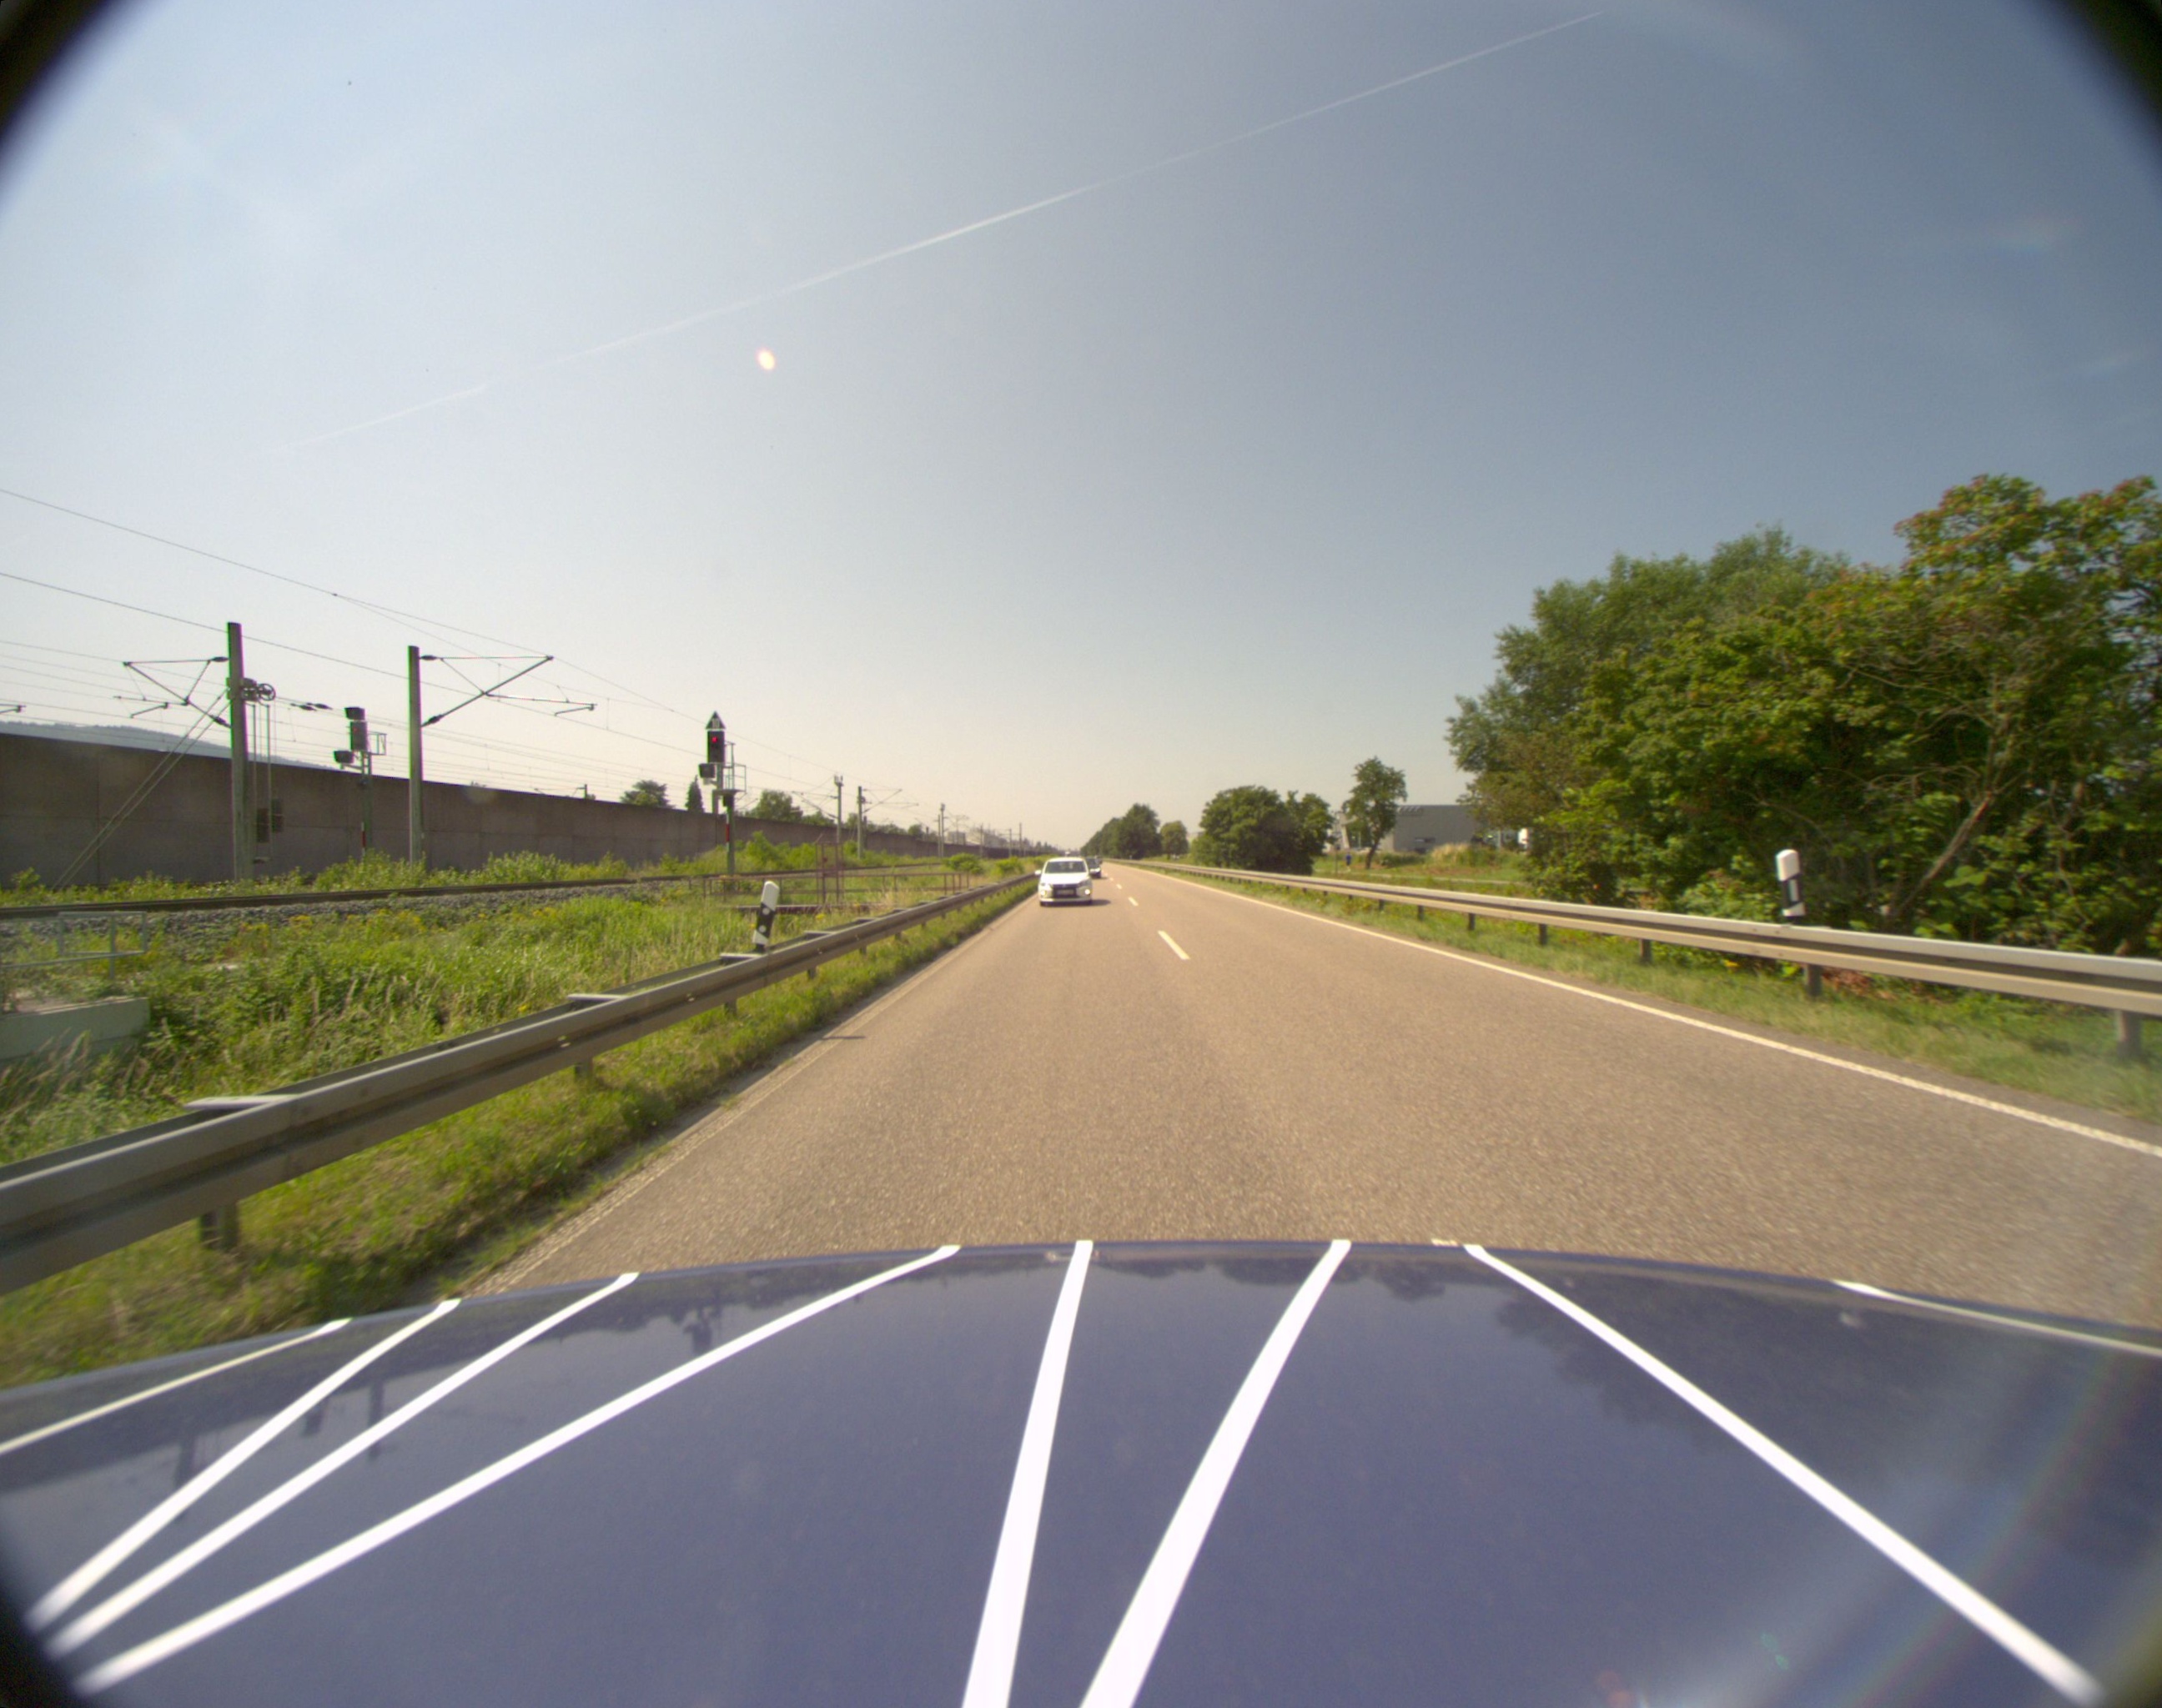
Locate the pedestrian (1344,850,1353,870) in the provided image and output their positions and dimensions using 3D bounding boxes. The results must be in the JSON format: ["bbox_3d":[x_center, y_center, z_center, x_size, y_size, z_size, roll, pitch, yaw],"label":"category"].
[{"bbox_3d":[23.298,0.493,66.148,0.580,1.740,0.821,1,1,5],"label":"pedestrian"}]

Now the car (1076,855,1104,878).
[{"bbox_3d":[0.561,0.790,51.345,1.711,1.470,4.154,-1,0,-1],"label":"car"}]

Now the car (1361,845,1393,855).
[{"bbox_3d":[43.804,-0.556,112.480,4.239,1.428,1.623,1,0,-7],"label":"car"}]

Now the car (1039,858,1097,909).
[{"bbox_3d":[-0.427,0.886,24.854,1.701,1.470,4.154,-1,0,-1],"label":"car"}]

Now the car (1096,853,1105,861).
[{"bbox_3d":[4.101,0.580,158.279,1.702,1.466,4.686,-2,0,0],"label":"car"}]
